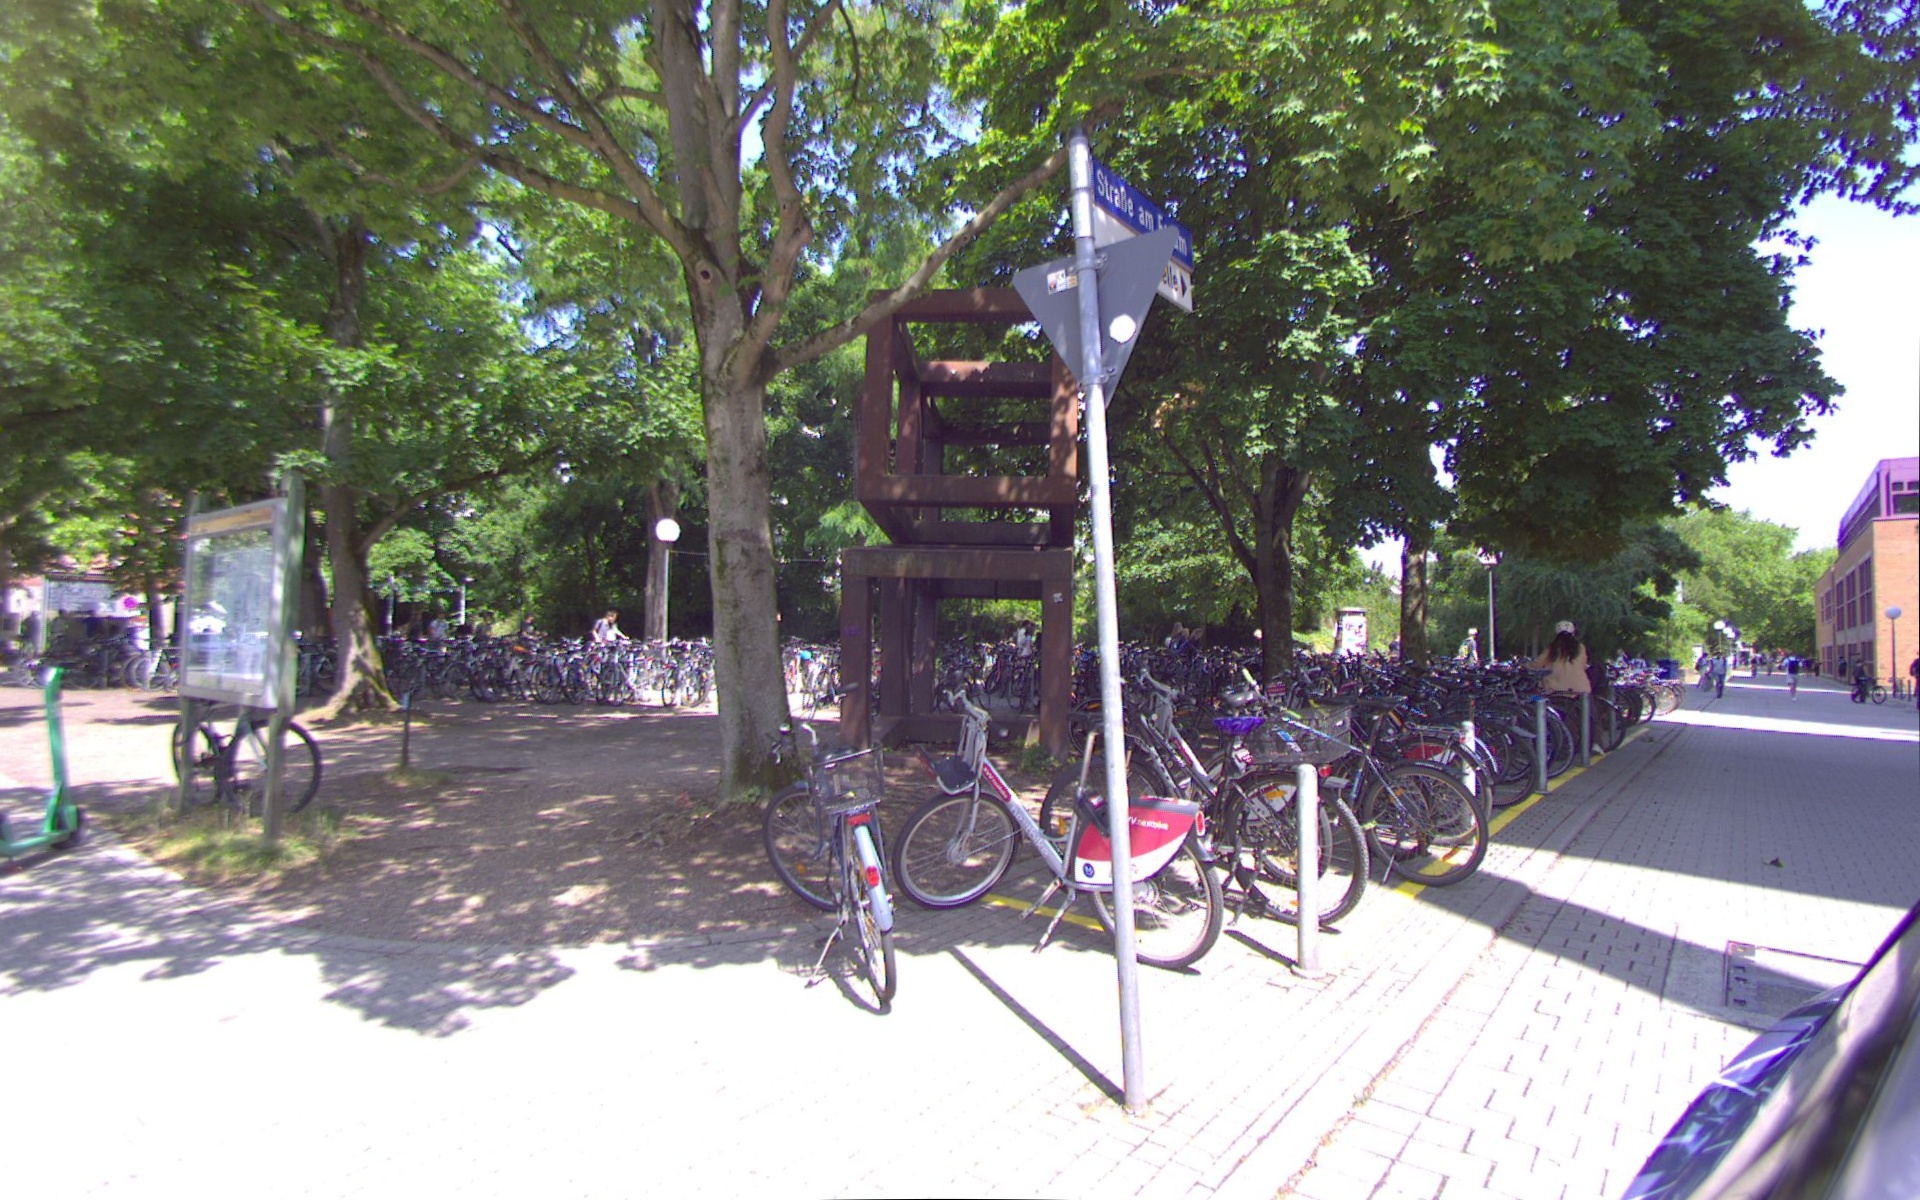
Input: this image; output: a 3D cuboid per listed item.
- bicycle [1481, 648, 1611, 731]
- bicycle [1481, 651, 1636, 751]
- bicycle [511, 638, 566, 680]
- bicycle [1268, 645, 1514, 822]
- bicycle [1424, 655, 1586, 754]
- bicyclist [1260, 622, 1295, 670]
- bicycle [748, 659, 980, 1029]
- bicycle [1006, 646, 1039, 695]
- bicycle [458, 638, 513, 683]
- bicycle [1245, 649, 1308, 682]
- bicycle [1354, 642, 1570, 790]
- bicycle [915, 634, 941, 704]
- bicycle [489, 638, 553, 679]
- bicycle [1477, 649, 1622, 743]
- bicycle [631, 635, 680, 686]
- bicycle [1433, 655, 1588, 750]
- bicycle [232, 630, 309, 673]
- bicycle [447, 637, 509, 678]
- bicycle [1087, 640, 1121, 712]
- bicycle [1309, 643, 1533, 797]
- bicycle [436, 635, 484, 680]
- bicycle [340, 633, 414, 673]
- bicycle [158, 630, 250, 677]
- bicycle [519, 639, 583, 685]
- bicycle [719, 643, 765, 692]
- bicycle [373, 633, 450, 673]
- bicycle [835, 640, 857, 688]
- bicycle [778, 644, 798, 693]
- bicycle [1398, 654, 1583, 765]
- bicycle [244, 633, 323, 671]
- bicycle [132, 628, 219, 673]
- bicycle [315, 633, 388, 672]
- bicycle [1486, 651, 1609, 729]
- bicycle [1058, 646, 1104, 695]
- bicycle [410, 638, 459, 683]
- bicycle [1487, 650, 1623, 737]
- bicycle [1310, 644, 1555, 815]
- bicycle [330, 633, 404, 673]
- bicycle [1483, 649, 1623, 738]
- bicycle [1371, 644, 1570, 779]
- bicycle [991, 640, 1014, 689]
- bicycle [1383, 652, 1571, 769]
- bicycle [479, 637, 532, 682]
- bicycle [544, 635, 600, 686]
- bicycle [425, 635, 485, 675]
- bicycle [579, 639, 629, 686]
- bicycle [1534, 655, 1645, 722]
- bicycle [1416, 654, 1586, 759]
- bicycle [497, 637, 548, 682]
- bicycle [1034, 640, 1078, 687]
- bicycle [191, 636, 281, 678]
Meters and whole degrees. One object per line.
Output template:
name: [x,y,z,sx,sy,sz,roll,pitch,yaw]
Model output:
bicycle: [8.872,1.337,15.339,1.677,1.144,0.448,1,-4,35]
bicycle: [7.647,1.269,12.968,1.677,1.144,0.448,1,-4,35]
bicycle: [-10.816,1.498,26.039,0.301,0.991,1.878,0,-1,11]
bicycle: [3.283,0.965,7.825,1.691,1.139,0.474,1,0,45]
bicycle: [6.616,1.242,12.305,1.677,1.061,0.610,1,-4,34]
bicyclist: [9.745,1.402,31.057,0.787,1.465,0.745,1,-2,-4]
bicycle: [-0.499,0.871,4.336,0.593,1.156,1.789,0,-1,-18]
bicycle: [1.387,1.553,22.664,0.469,0.991,1.905,0,-1,-5]
bicycle: [-11.225,1.406,23.984,0.469,0.991,1.904,0,-1,-2]
bicycle: [9.702,1.991,31.033,1.718,0.943,0.587,0,0,-4]
bicycle: [4.608,1.014,9.357,1.689,1.165,0.618,1,0,41]
bicycle: [-0.561,1.204,18.173,0.406,1.185,1.844,1,-2,0]
bicycle: [-11.327,1.485,26.153,0.436,0.991,1.894,-1,-2,15]
bicycle: [7.998,1.283,13.760,1.677,1.144,0.448,1,-4,35]
bicycle: [-6.927,1.355,23.073,0.470,1.096,1.902,0,-1,2]
bicycle: [6.938,1.270,12.781,1.677,1.061,0.495,1,-4,35]
bicycle: [-19.433,1.436,28.574,0.472,1.158,1.891,-1,-2,19]
bicycle: [-12.330,1.453,25.950,0.470,0.991,1.898,0,-1,8]
bicycle: [2.552,1.328,18.037,0.428,1.185,1.843,1,-2,3]
bicycle: [4.029,0.997,8.927,1.691,1.139,0.618,1,0,45]
bicycle: [-11.828,1.345,23.985,0.469,0.991,1.906,0,-1,-10]
bicycle: [-15.423,1.386,26.823,0.472,0.991,1.894,-1,-2,15]
bicycle: [-19.495,1.359,26.147,0.604,1.133,1.893,-1,-2,17]
bicycle: [-9.421,1.404,23.391,0.470,0.991,1.898,0,-1,8]
bicycle: [-4.858,1.488,22.677,0.372,0.991,1.898,0,-1,8]
bicycle: [-14.458,1.383,26.731,0.604,0.991,1.893,-1,-2,17]
bicycle: [-2.530,1.392,22.380,0.371,0.991,1.906,0,-1,-9]
bicycle: [-3.798,1.484,22.311,0.371,0.991,1.907,0,-1,-11]
bicycle: [5.799,1.170,11.122,0.607,1.061,1.692,6,-5,-43]
bicycle: [-18.705,1.427,28.024,0.472,0.991,1.891,-1,-2,19]
bicycle: [-20.563,1.297,26.570,0.604,1.133,1.799,-1,-2,17]
bicycle: [-16.387,1.402,27.295,0.416,0.991,1.893,-1,-2,17]
bicycle: [9.444,1.430,16.288,1.677,1.144,0.448,1,-4,35]
bicycle: [2.682,1.548,22.539,0.469,0.991,1.906,0,-1,-10]
bicycle: [-12.386,1.403,23.899,0.469,0.991,1.906,0,-1,-10]
bicycle: [8.671,1.345,14.778,1.677,1.144,0.448,1,-4,35]
bicycle: [3.733,0.970,8.096,1.691,1.139,0.557,1,0,45]
bicycle: [-15.780,1.392,26.976,0.472,0.991,1.894,-1,-2,15]
bicycle: [8.355,1.299,14.295,1.677,1.144,0.448,1,-4,35]
bicycle: [4.983,1.056,9.917,1.682,1.165,0.620,1,-4,31]
bicycle: [0.933,1.411,22.486,0.469,0.991,1.903,0,-1,1]
bicycle: [5.333,1.109,10.472,1.683,1.061,0.561,1,-4,32]
bicycle: [-10.703,1.387,23.882,0.469,0.991,1.904,0,-1,-3]
bicycle: [-8.851,1.366,23.169,0.470,1.096,1.902,0,-1,2]
bicycle: [-13.345,1.429,26.795,0.527,0.991,1.901,0,-1,5]
bicycle: [-8.111,1.412,23.134,0.469,0.991,1.903,0,-1,0]
bicycle: [11.331,1.582,18.239,1.677,1.098,0.472,1,-5,35]
bicycle: [6.240,1.200,11.700,1.677,1.061,0.610,1,-4,34]
bicycle: [-10.309,1.374,23.894,0.469,0.991,1.904,0,-1,-3]
bicycle: [2.134,1.396,22.634,0.469,0.991,1.906,0,-1,-10]
bicycle: [-18.370,1.422,25.728,0.604,0.991,1.893,-1,-2,17]
